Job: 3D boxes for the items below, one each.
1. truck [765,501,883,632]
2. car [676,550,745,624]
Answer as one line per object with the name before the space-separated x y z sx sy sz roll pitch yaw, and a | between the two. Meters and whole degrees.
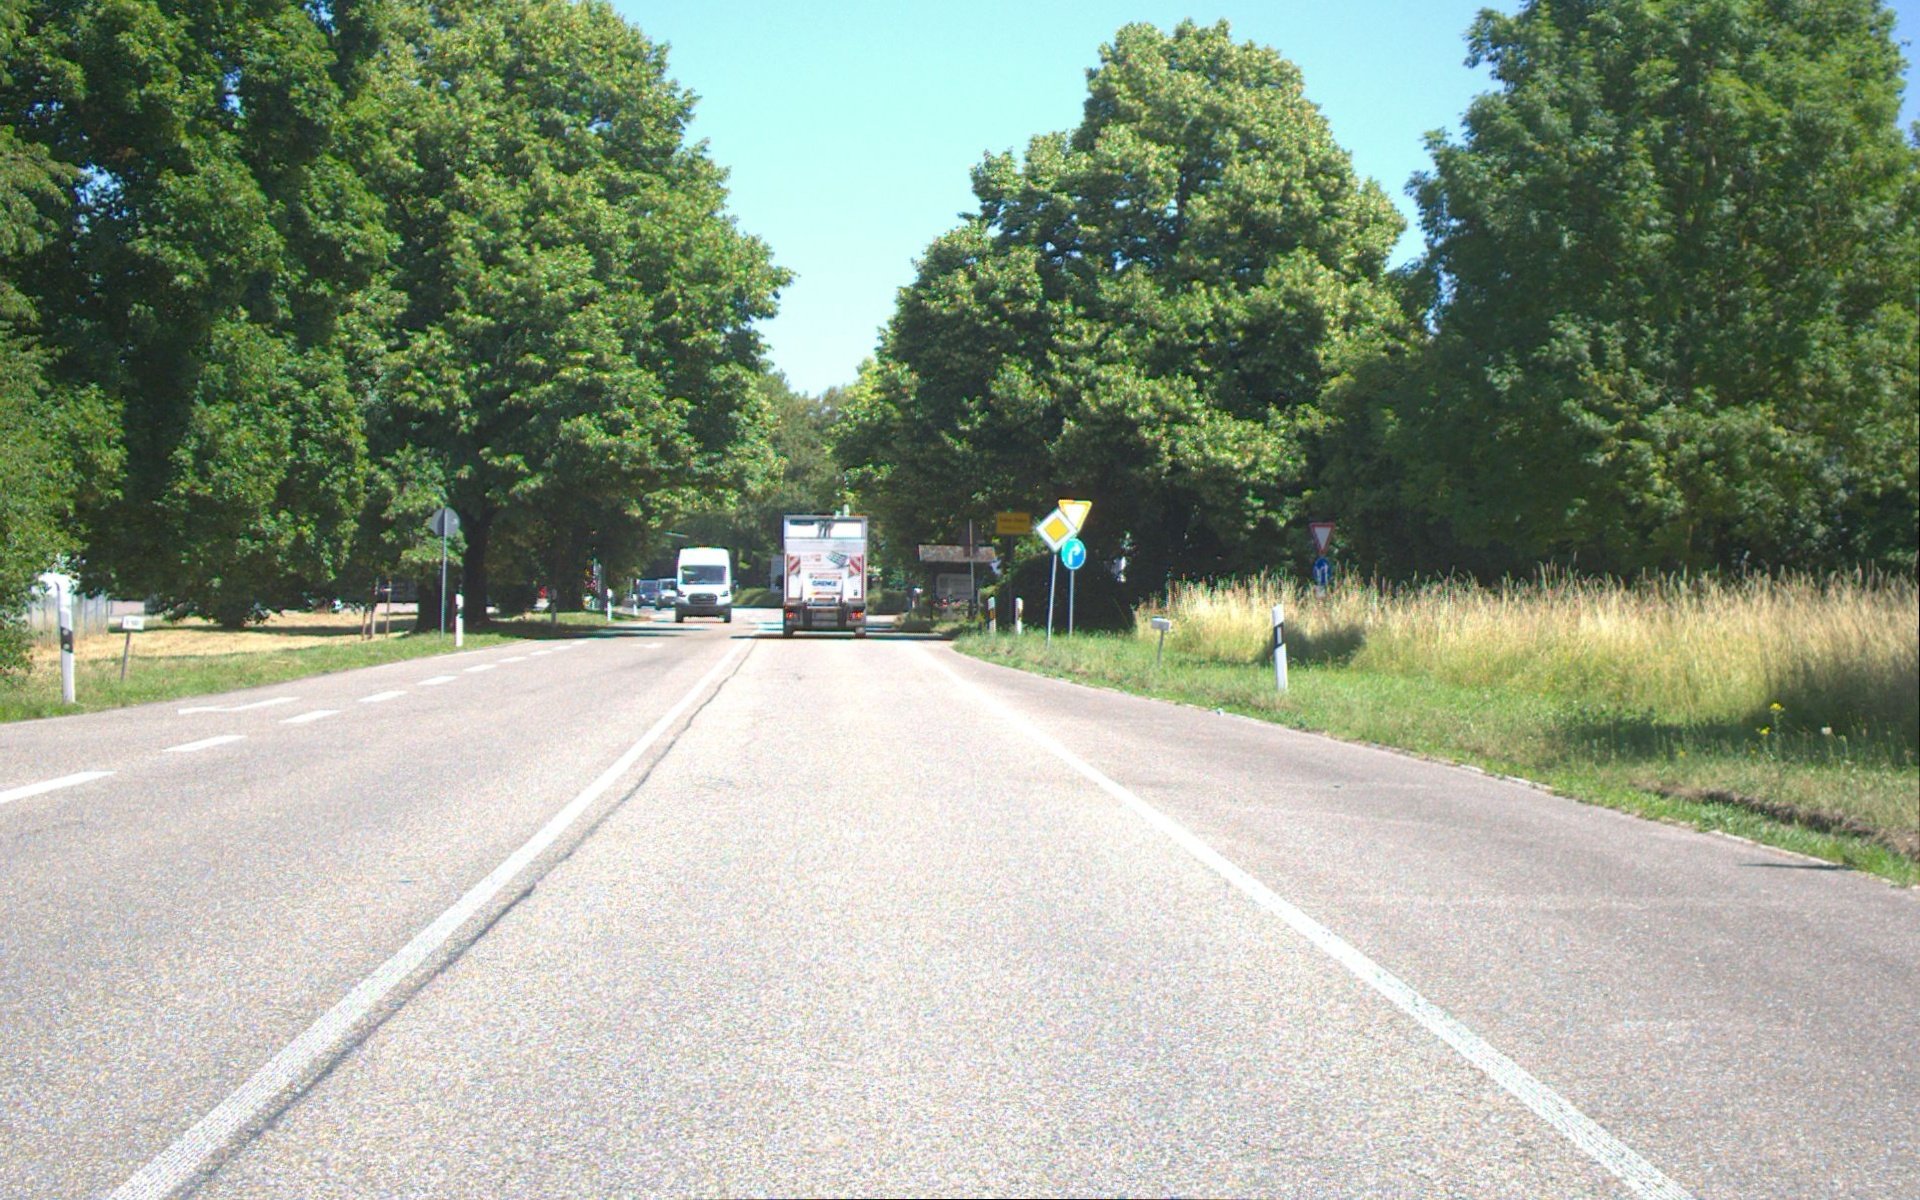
truck | -3.305 -0.849 84.900 2.534 3.124 5.361 0 1 2
car | -9.043 -0.454 125.269 2.073 2.618 6.784 0 0 -1
